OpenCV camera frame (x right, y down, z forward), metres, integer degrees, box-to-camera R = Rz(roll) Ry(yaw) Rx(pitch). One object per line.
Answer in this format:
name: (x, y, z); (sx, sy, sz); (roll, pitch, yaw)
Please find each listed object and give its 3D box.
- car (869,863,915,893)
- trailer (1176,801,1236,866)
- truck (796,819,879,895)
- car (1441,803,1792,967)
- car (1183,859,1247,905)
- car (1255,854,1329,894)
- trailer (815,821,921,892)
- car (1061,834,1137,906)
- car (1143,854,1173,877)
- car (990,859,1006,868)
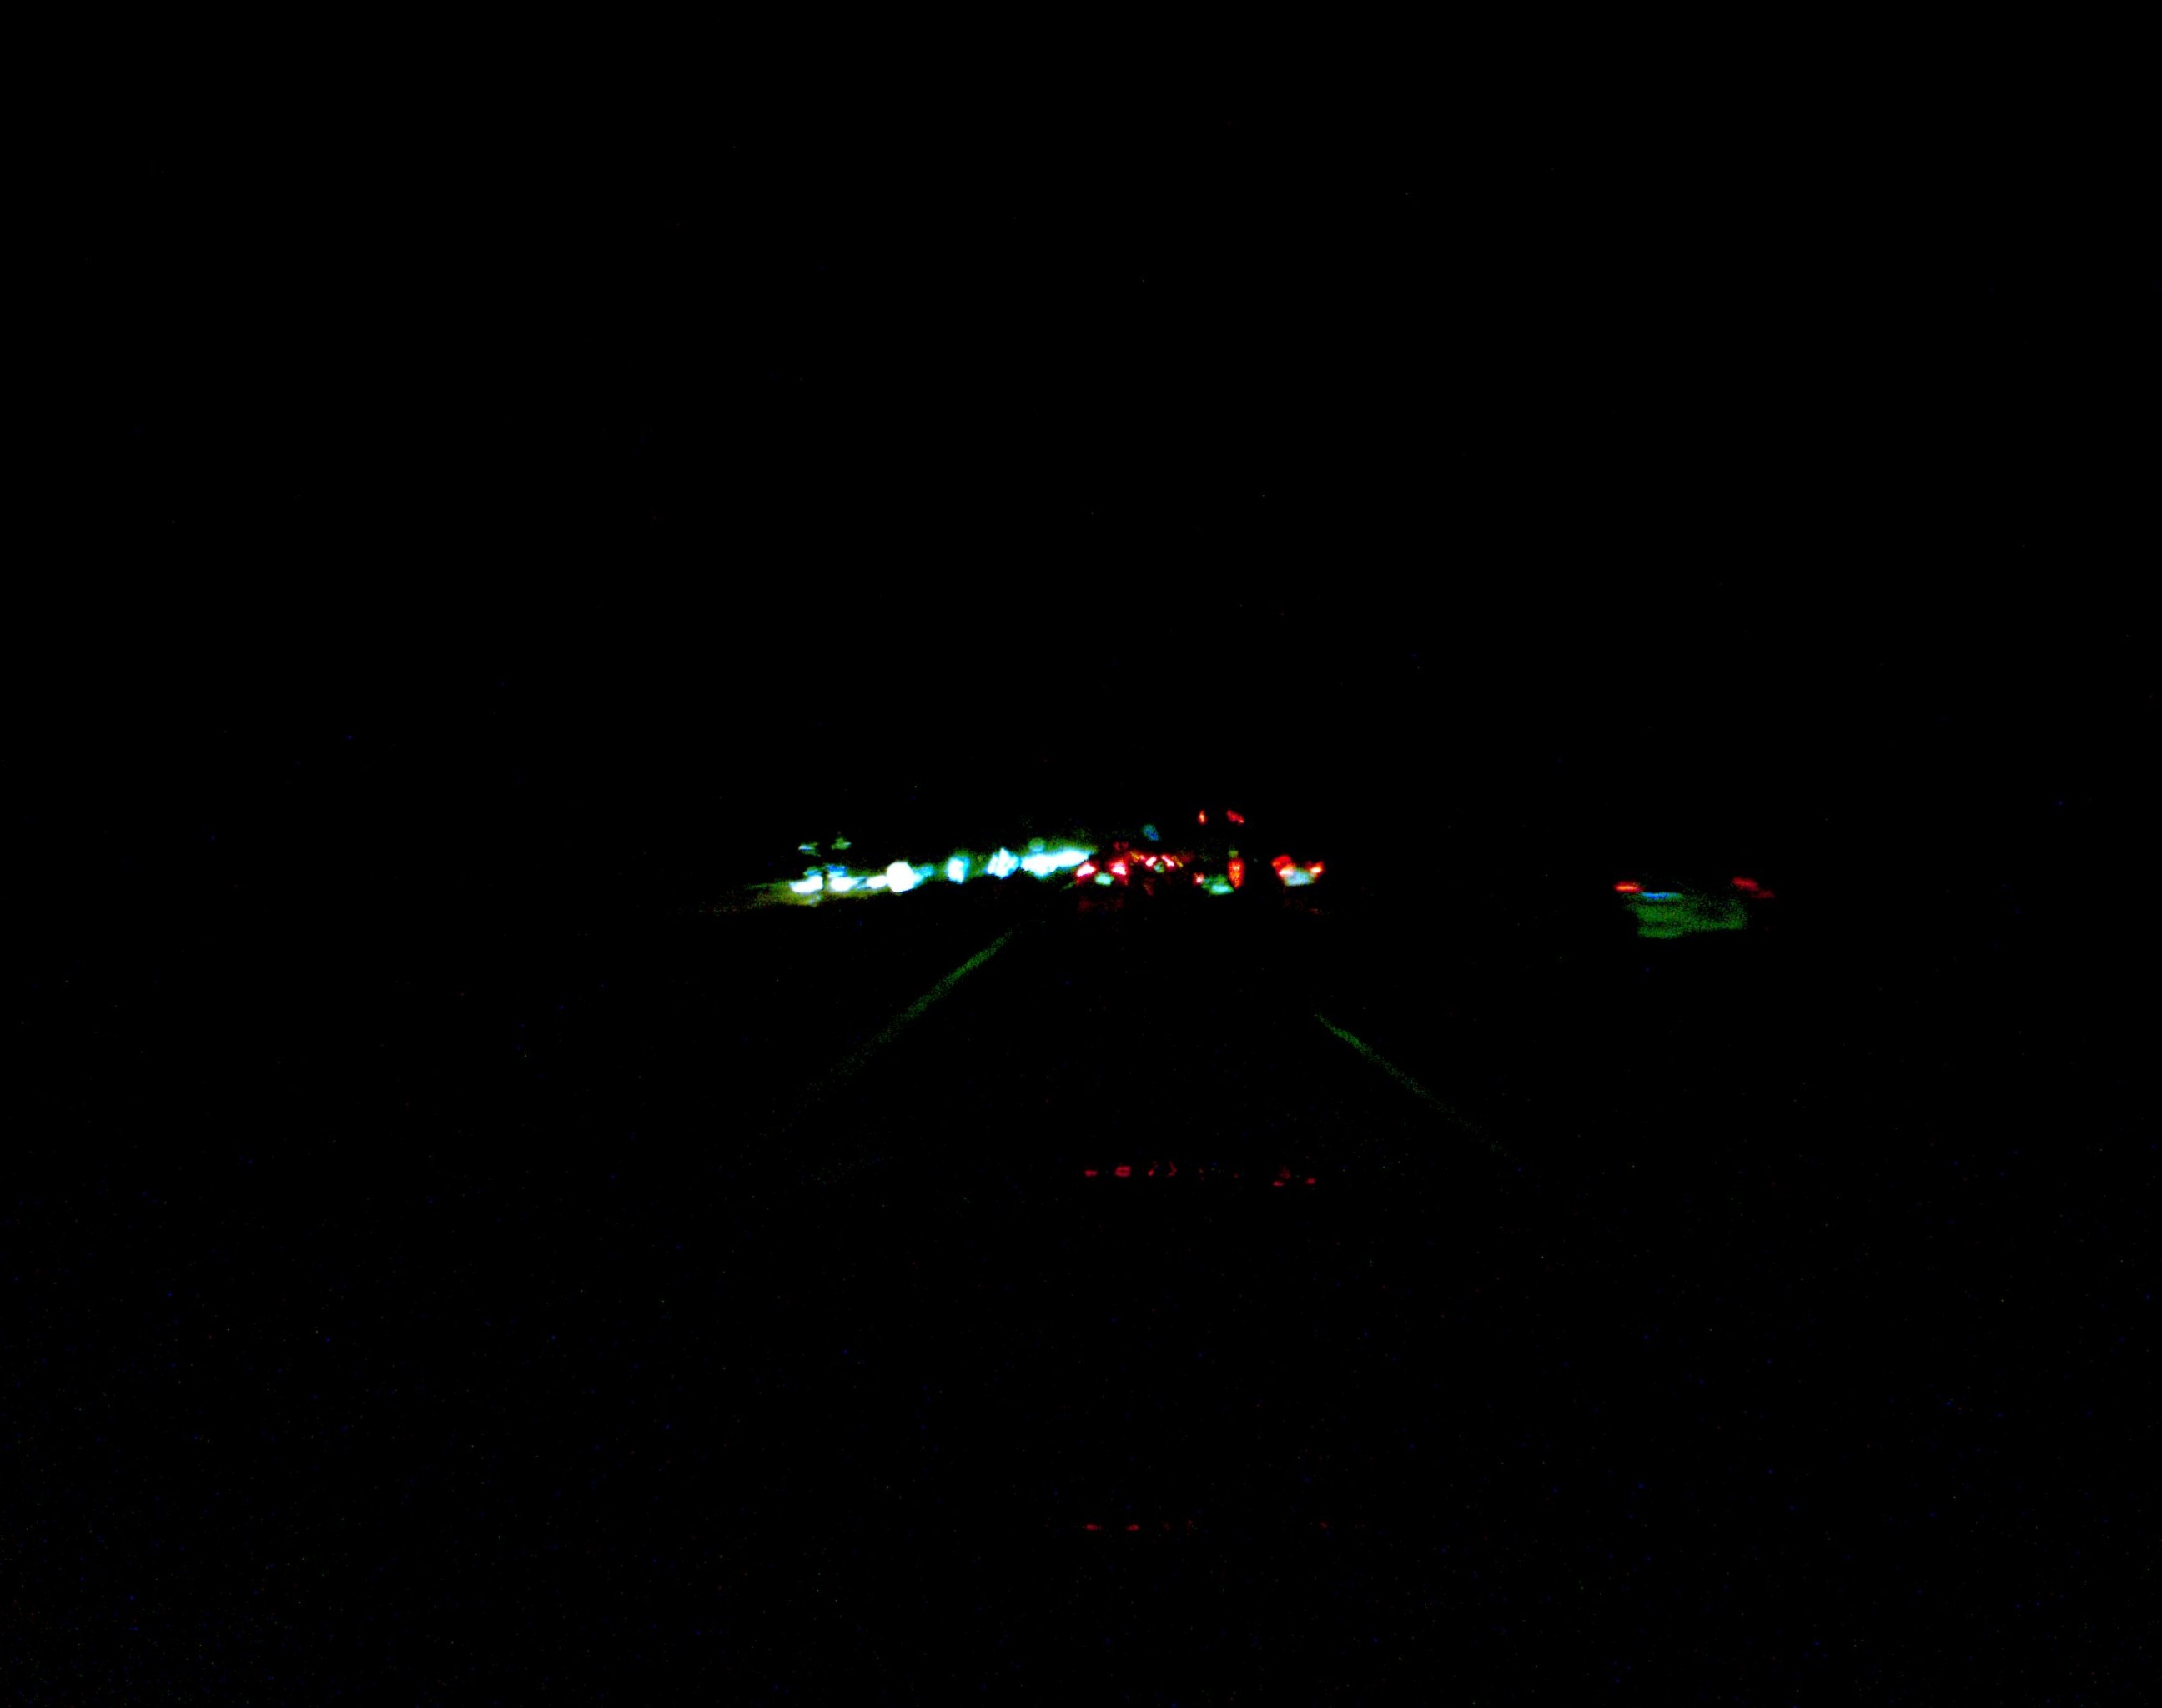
car: (-11.303, 1.396, 48.978); (1.672, 1.597, 4.349); (-3, 0, 1)
trailer: (8.888, -1.349, 59.340); (2.793, 4.212, 12.101); (-1, 0, 2)
truck: (-14.850, 0.107, 50.256); (2.875, 4.334, 6.749); (-1, 1, 2)
car: (7.981, 0.378, 13.027); (2.039, 1.974, 5.407); (-3, 0, 1)
car: (4.483, 0.894, 27.730); (1.607, 1.412, 3.792); (-1, 0, 1)
car: (8.731, 0.771, 34.110); (1.887, 1.486, 4.962); (0, 0, 1)
trailer: (-14.577, 0.021, 57.745); (2.875, 4.304, 15.726); (-1, 1, 2)
car: (0.693, 0.583, 33.190); (2.701, 2.534, 5.830); (-3, 0, 0)
car: (5.576, 0.842, 59.337); (1.877, 1.588, 4.001); (-1, 0, 2)
car: (-12.617, 1.427, 123.607); (1.955, 1.345, 4.289); (-1, 0, 1)
